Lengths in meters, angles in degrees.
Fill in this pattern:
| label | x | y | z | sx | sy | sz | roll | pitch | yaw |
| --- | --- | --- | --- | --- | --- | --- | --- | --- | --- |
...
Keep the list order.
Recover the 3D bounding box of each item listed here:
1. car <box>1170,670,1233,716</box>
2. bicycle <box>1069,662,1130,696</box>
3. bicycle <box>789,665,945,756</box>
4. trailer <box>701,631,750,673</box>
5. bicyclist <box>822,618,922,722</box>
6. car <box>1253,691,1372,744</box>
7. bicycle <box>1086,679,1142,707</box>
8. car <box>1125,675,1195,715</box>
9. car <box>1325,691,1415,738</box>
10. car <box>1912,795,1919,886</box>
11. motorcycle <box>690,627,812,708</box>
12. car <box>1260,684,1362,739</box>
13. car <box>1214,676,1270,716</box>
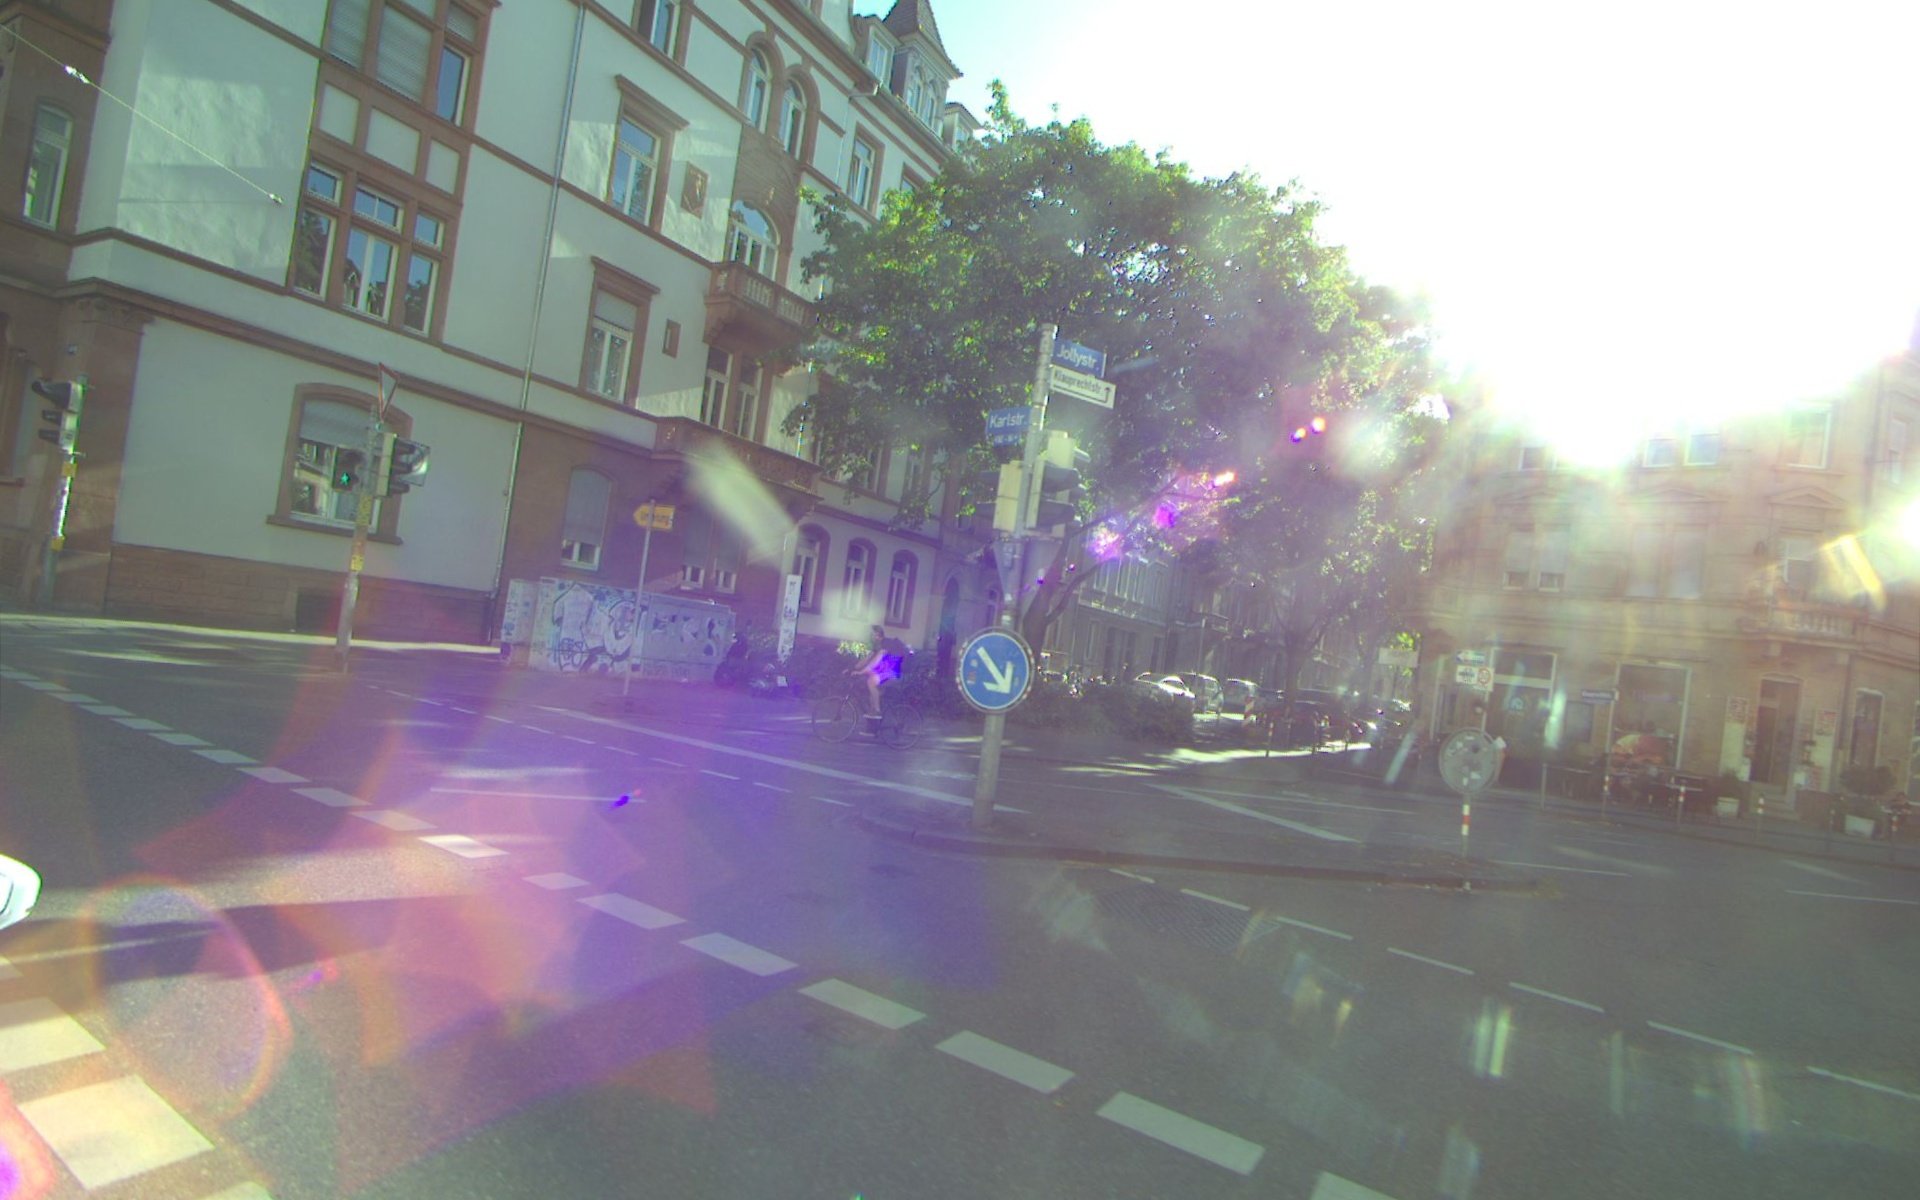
| label | x | y | z | sx | sy | sz | roll | pitch | yaw |
| --- | --- | --- | --- | --- | --- | --- | --- | --- | --- |
| car | 12.150 | 4.701 | 50.463 | 1.611 | 1.884 | 3.995 | 10 | -1 | 33 |
| bicycle | 5.649 | 3.195 | 40.777 | 2.127 | 0.898 | 1.014 | 12 | 1 | 38 |
| bicycle | -1.390 | 1.663 | 15.088 | 2.071 | 1.056 | 0.843 | 9 | -2 | -24 |
| trailer | -5.997 | 1.332 | 25.760 | 0.818 | 0.934 | 0.782 | 7 | -2 | 30 |
| bicyclist | -1.332 | 1.043 | 15.100 | 1.121 | 1.358 | 0.833 | 9 | -1 | -24 |
| car | 14.162 | 4.709 | 40.542 | 4.100 | 1.448 | 1.640 | 8 | -2 | 5 |
| bicycle | 6.442 | 3.899 | 42.186 | 2.022 | 0.740 | 1.014 | 12 | 1 | 38 |
| car | 9.093 | 4.317 | 45.638 | 1.537 | 1.444 | 3.800 | 6 | -3 | 36 |
| car | 22.481 | 6.264 | 55.293 | 3.926 | 1.883 | 2.004 | 8 | -2 | 1 |
| car | 18.238 | 4.289 | 16.434 | 4.183 | 1.514 | 1.843 | 9 | -3 | -13 |
| motorcycle | -4.006 | 1.270 | 19.158 | 2.350 | 1.137 | 0.612 | 9 | -1 | 31 |
| car | 15.941 | 5.068 | 45.861 | 3.924 | 1.885 | 1.639 | 7 | 0 | 5 |
| car | 16.272 | 5.559 | 57.893 | 1.714 | 1.884 | 3.994 | 10 | -1 | 34 |
